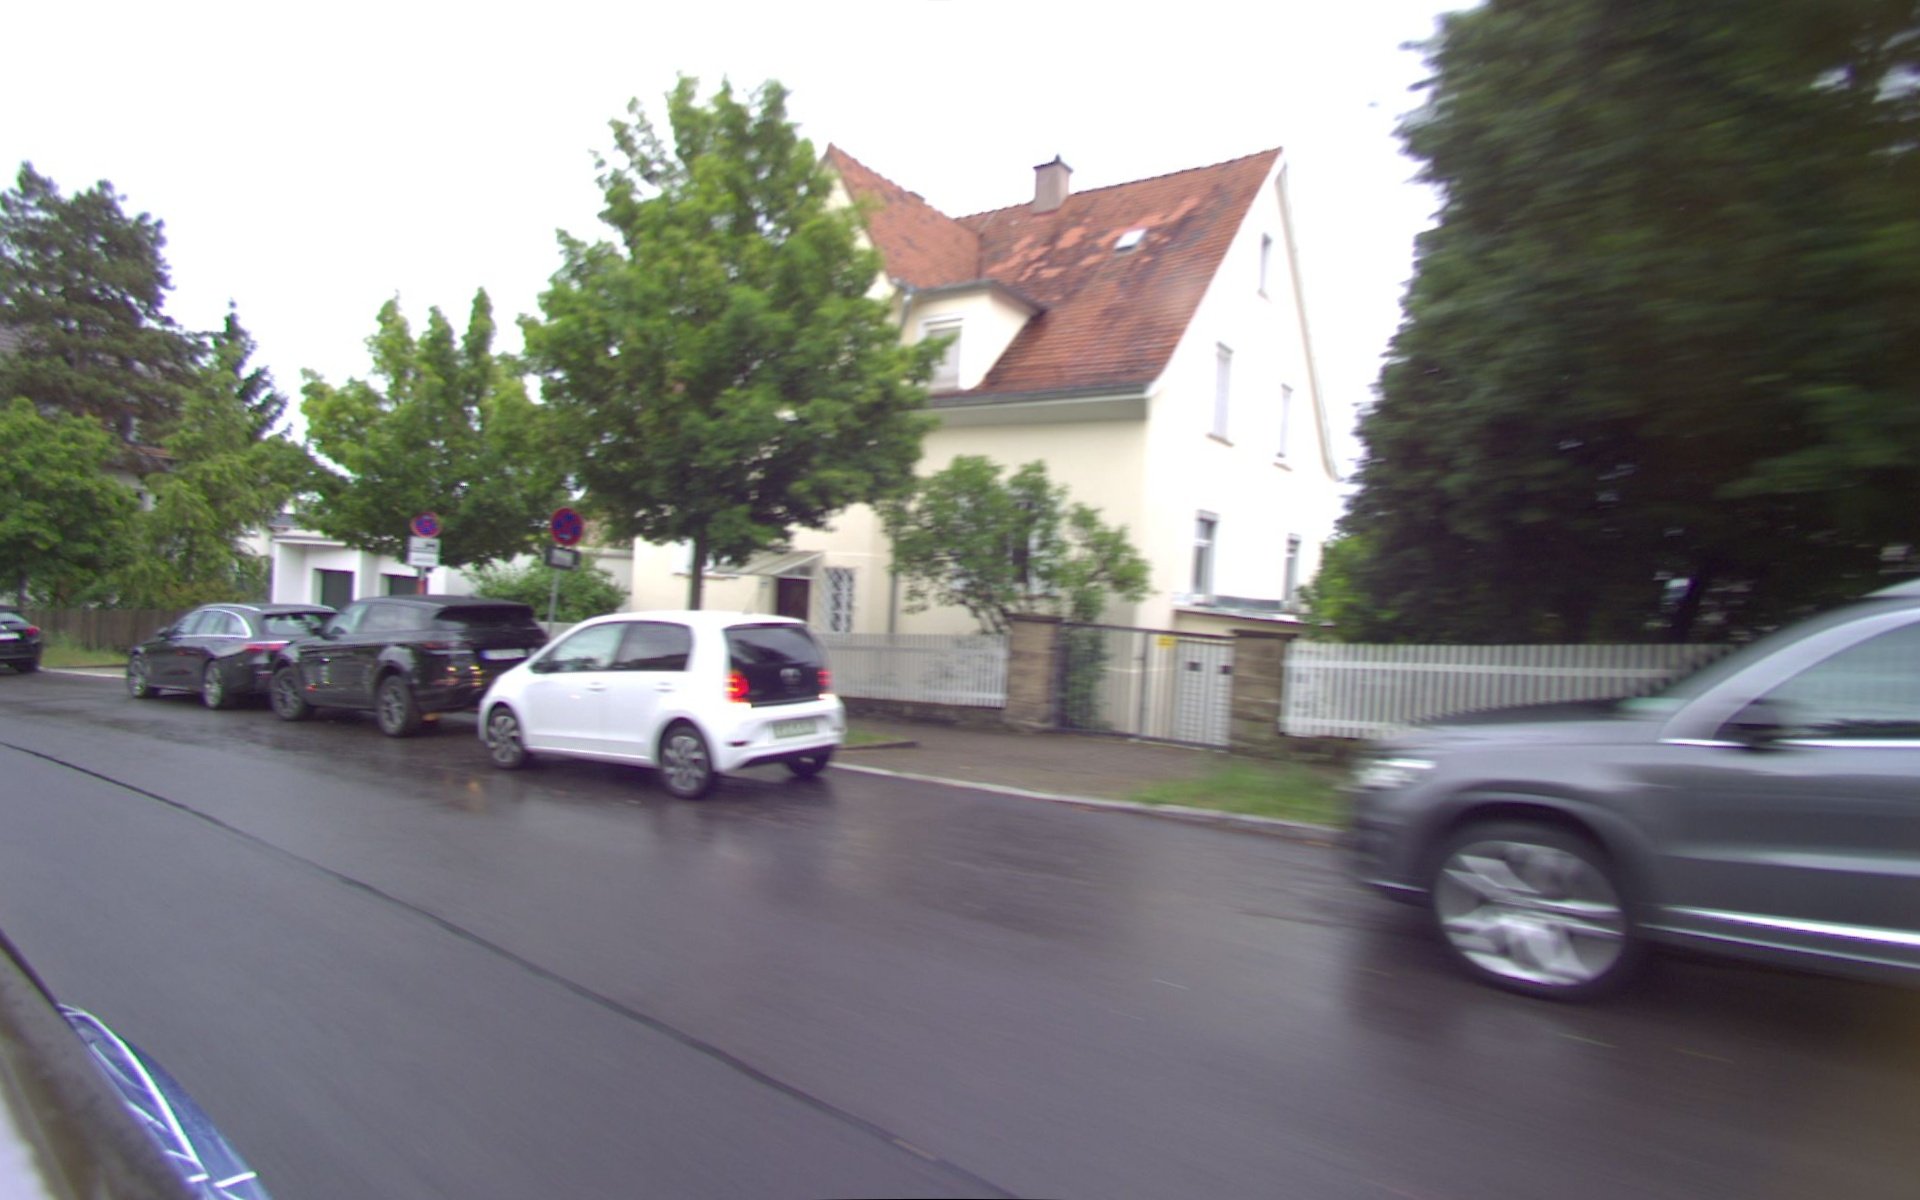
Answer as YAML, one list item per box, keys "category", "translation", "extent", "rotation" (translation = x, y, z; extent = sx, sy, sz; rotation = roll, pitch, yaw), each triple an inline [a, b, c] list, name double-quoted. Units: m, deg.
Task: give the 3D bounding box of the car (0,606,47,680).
- category: "car"
  translation: [-21.055, 0.858, 20.800]
  extent: [3.860, 1.477, 1.666]
  rotation: [0, -1, 17]

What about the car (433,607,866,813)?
- category: "car"
  translation: [-2.940, 0.830, 9.253]
  extent: [3.991, 1.477, 1.718]
  rotation: [-1, 0, 35]

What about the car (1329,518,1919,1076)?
- category: "car"
  translation: [3.792, 0.614, 3.470]
  extent: [4.424, 1.681, 1.782]
  rotation: [0, -2, 41]

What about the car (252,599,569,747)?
- category: "car"
  translation: [-6.920, 0.773, 12.618]
  extent: [4.198, 1.557, 1.719]
  rotation: [0, 0, 34]

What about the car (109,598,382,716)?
- category: "car"
  translation: [-11.104, 0.753, 15.613]
  extent: [4.892, 1.557, 1.851]
  rotation: [0, 0, 34]
